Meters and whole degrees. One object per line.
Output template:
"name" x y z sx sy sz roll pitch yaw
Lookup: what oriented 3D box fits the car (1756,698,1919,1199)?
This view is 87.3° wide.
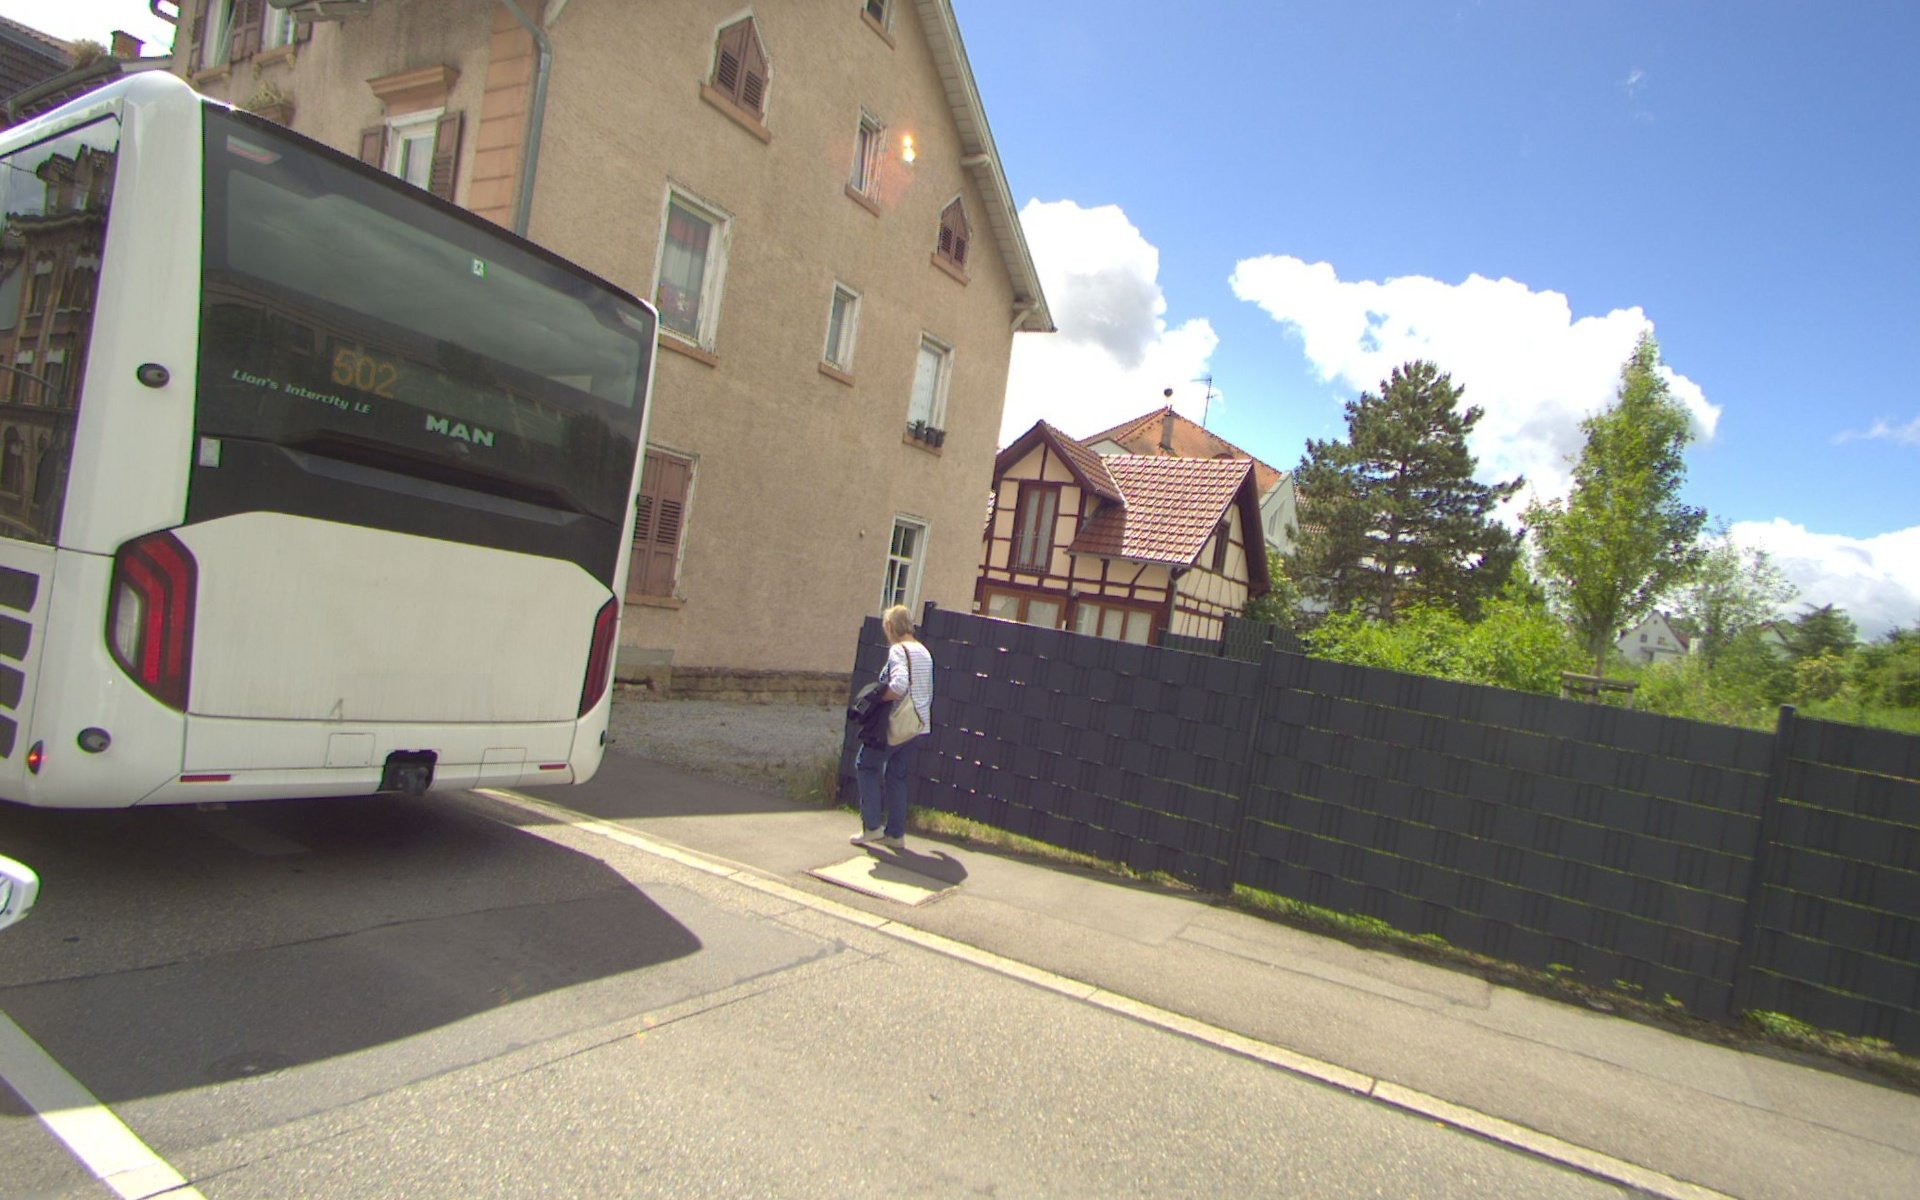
"car" 3.563 1.223 0.551 4.605 1.631 1.924 7 -2 32

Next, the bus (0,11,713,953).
"bus" -7.448 -0.878 7.763 12.255 3.192 2.678 7 -2 32

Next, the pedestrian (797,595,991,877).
"pedestrian" -0.403 0.816 6.364 0.700 1.581 0.860 7 1 31
